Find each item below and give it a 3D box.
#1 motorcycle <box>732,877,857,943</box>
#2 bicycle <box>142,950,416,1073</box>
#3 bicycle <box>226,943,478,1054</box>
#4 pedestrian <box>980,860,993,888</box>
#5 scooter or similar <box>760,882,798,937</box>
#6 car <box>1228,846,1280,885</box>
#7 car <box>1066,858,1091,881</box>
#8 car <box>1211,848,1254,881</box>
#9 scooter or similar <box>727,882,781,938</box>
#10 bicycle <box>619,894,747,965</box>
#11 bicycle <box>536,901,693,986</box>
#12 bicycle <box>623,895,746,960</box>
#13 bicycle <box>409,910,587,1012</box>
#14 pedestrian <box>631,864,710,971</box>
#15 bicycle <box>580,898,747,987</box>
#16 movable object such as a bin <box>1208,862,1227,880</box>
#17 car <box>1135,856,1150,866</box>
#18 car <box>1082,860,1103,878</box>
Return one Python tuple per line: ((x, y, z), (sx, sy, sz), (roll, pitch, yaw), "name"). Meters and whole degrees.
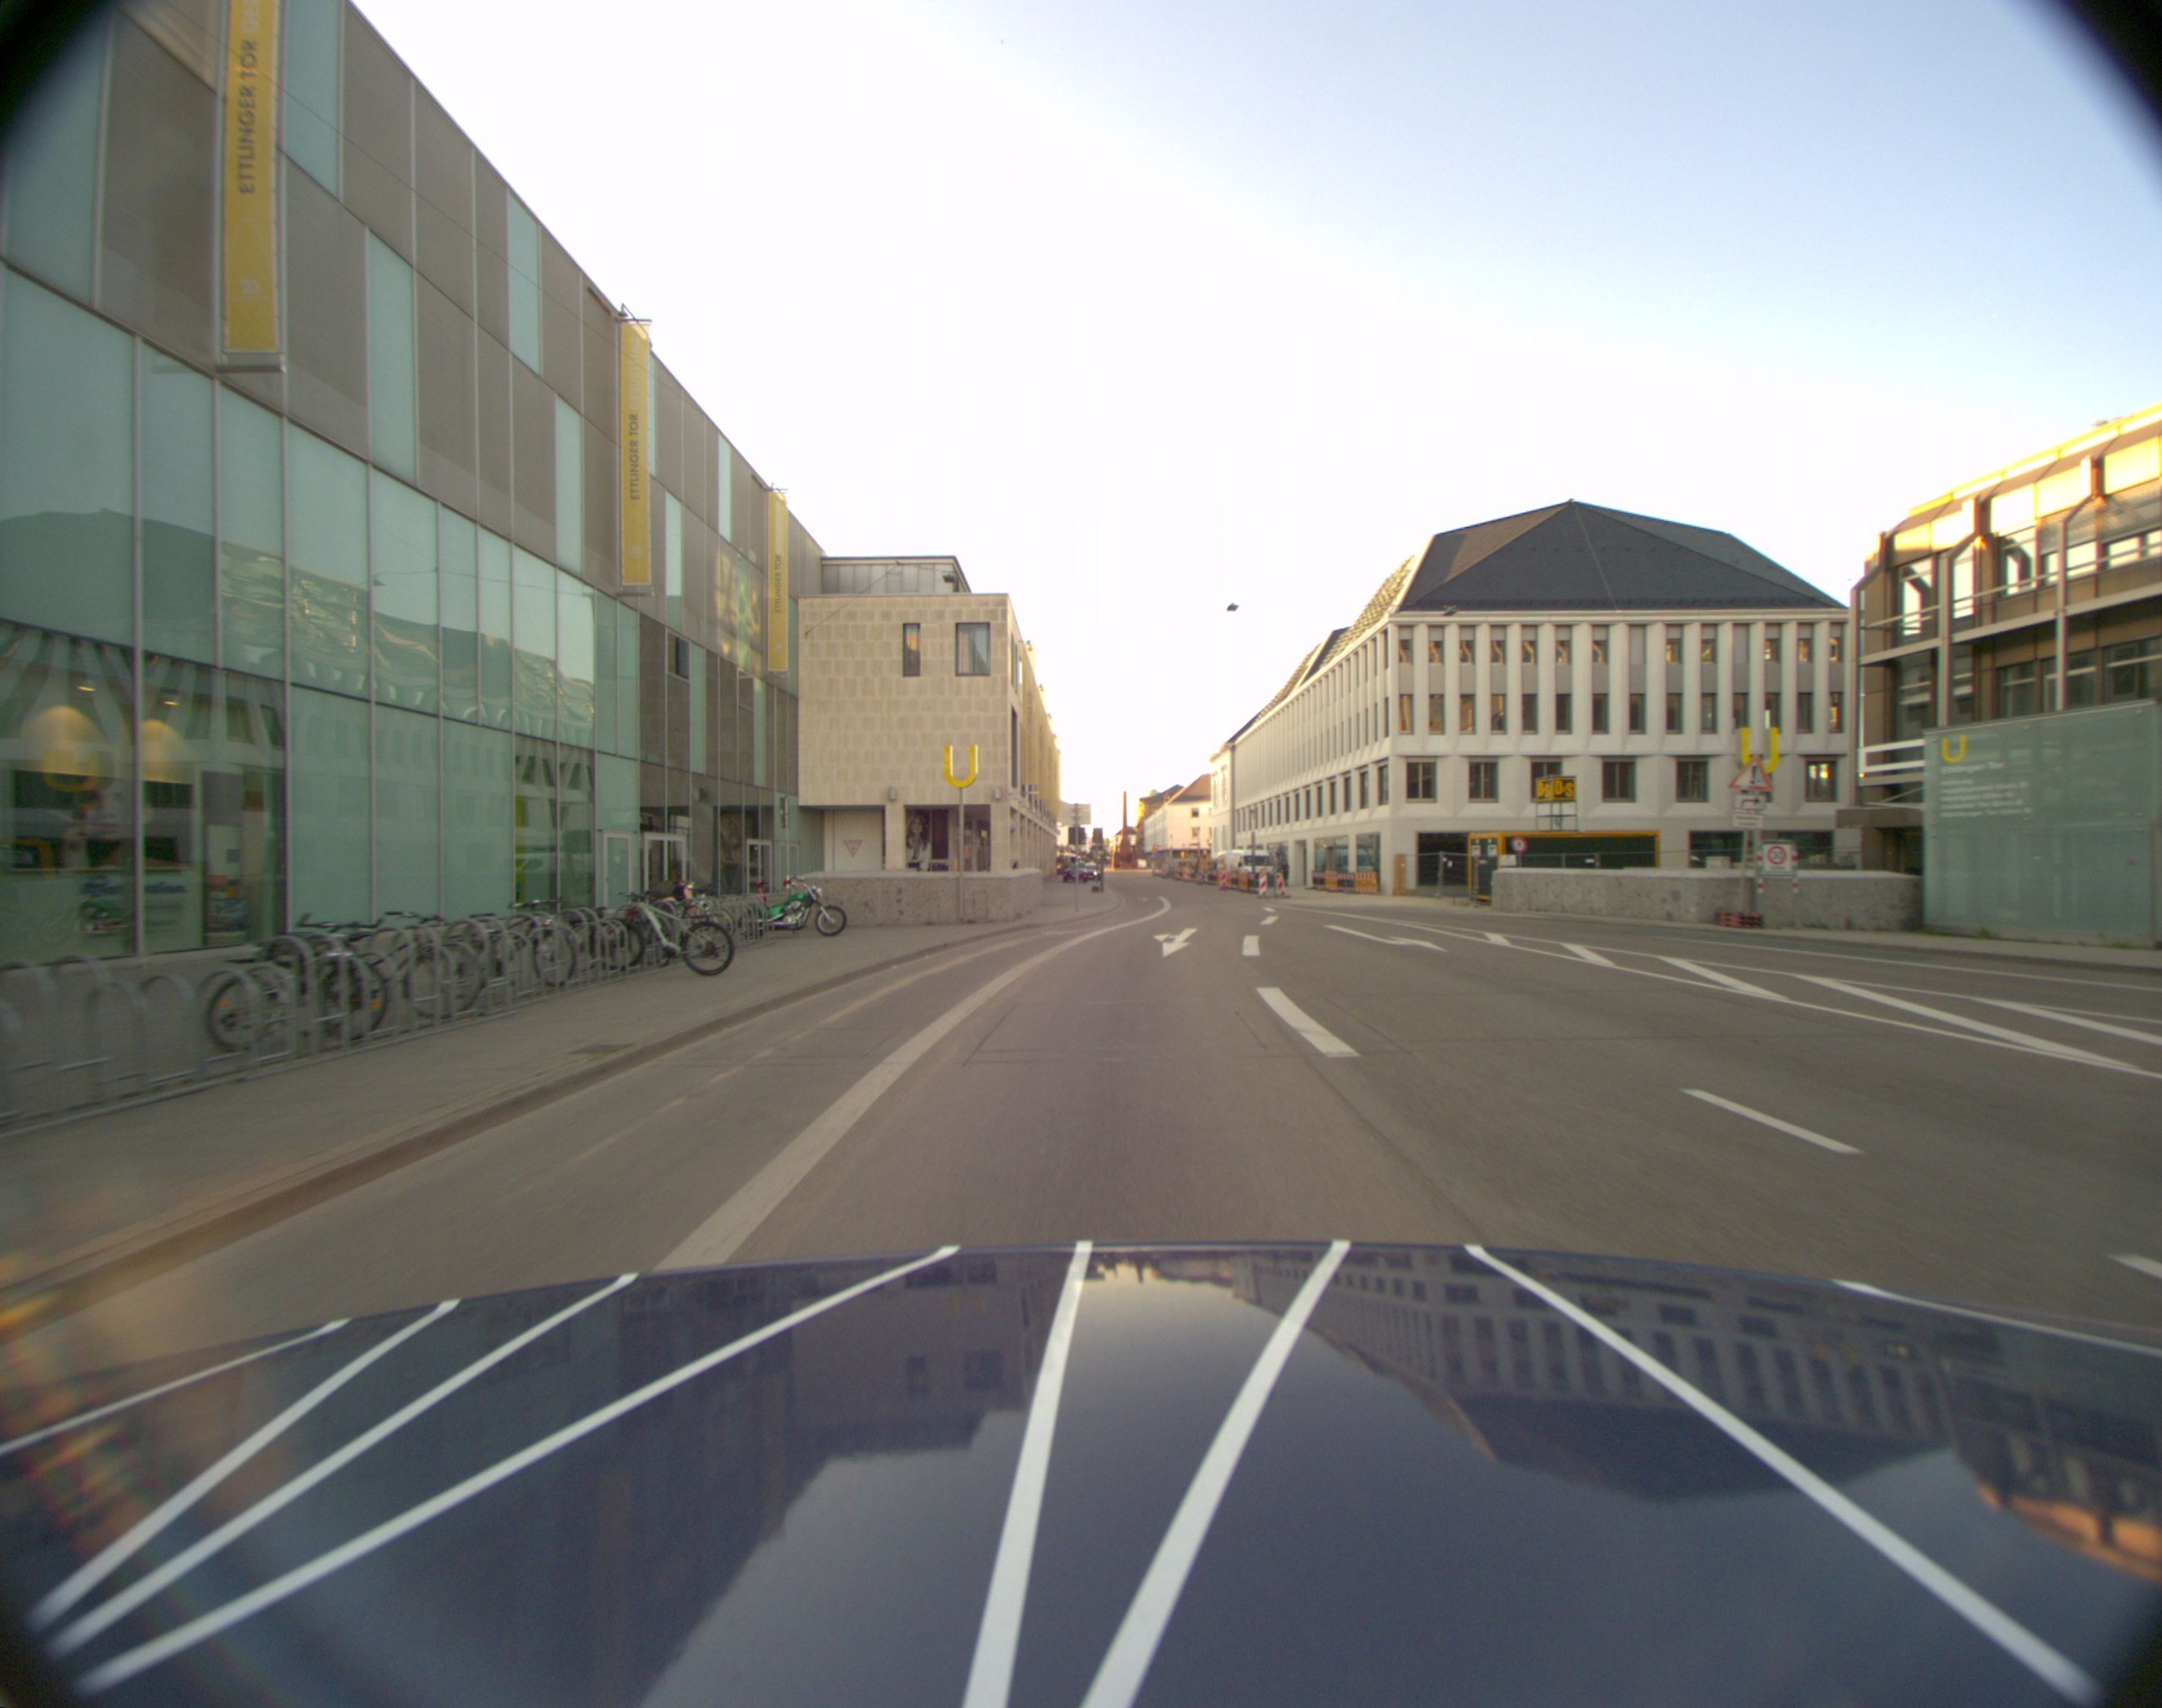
((-6.040, 1.177, 16.144), (2.304, 1.325, 0.907), (0, 0, -2), "motorcycle")
((-6.724, 1.309, 6.418), (1.743, 0.931, 0.516), (0, 0, -1), "bicycle")
((-6.724, 1.320, 7.055), (1.812, 0.931, 0.516), (0, 0, -1), "bicycle")
((-5.166, 1.102, 41.566), (0.635, 1.558, 0.775), (0, -1, 0), "pedestrian")
((-7.184, 1.298, 18.085), (0.398, 1.250, 0.870), (-1, 0, 12), "scooter or similar")
((11.519, 0.760, 51.062), (2.179, 2.456, 5.999), (0, 0, 0), "car")
((-0.166, 1.158, 59.262), (1.772, 1.628, 4.057), (3, 0, 1), "car")
((11.594, 0.771, 58.516), (2.179, 2.456, 5.999), (0, 0, 1), "car")
((-7.794, 1.314, 18.123), (1.119, 1.250, 0.398), (-1, 0, -37), "scooter or similar")
((-6.842, 1.285, 13.103), (1.992, 1.172, 0.516), (0, 0, 6), "bicycle")
((-6.817, 1.304, 11.132), (1.992, 1.123, 0.556), (-3, 0, 6), "bicycle")
((-7.135, 1.310, 13.697), (1.992, 1.123, 0.516), (0, 0, 6), "bicycle")
((-6.914, 1.253, 9.039), (1.769, 1.123, 0.516), (0, 0, 4), "bicycle")
((-6.900, 1.035, 12.797), (0.837, 1.725, 0.820), (0, 0, 8), "pedestrian")
((-5.596, 1.172, 10.227), (1.992, 1.123, 0.571), (0, 0, 6), "bicycle")
((11.242, 1.387, 62.637), (1.047, 1.457, 1.392), (-1, 0, -11), "movable object such as a bin")
((11.435, 1.262, 141.804), (2.021, 1.815, 4.457), (0, 0, -6), "car")
((1.029, 1.324, 67.713), (1.799, 1.481, 4.193), (3, 0, 1), "car")
